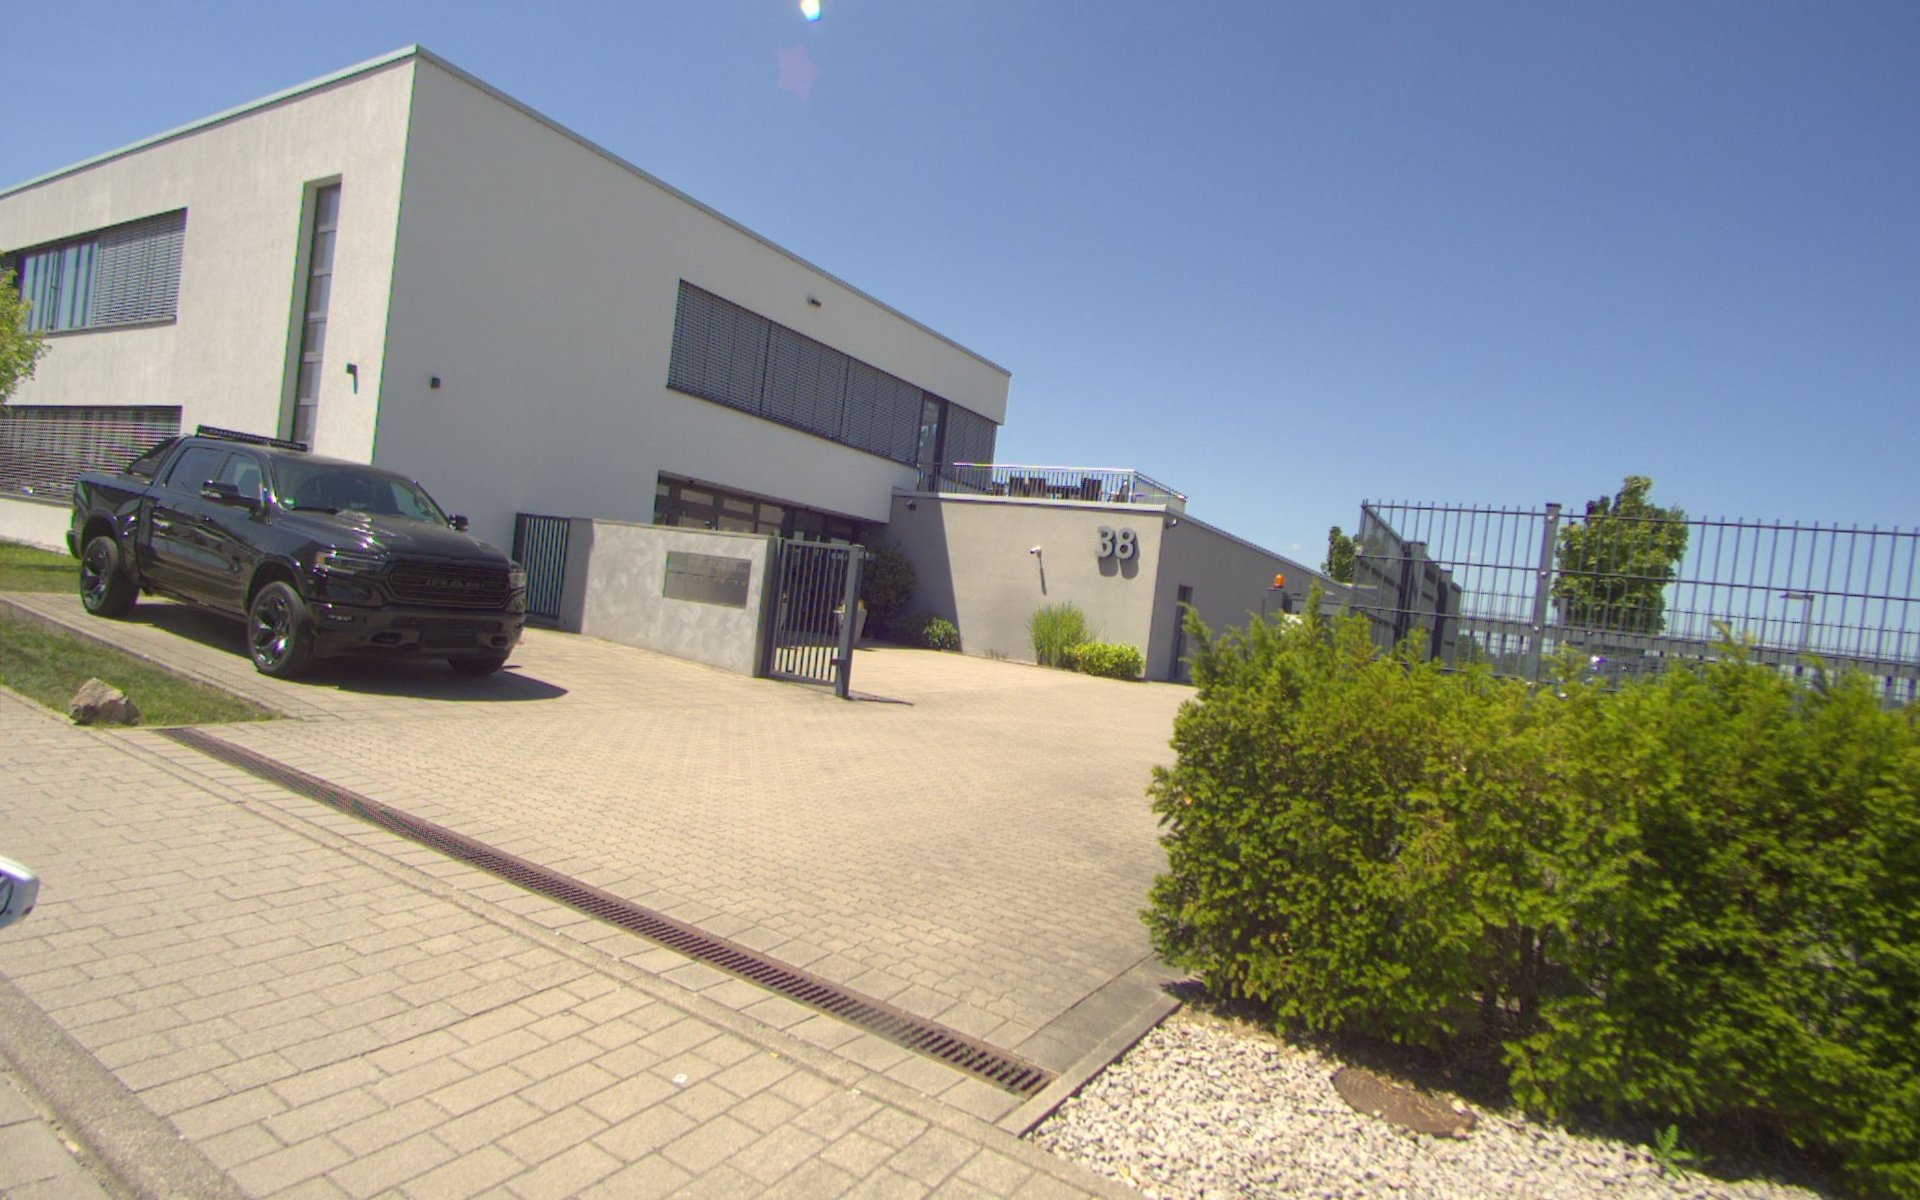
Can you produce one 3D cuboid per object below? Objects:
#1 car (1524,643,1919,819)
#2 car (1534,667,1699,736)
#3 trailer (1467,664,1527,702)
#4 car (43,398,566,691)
[{"bbox_3d":[10.029,1.645,13.685,3.934,1.699,1.857,5,0,32],"label":"car"},{"bbox_3d":[19.666,3.013,30.319,3.934,1.523,1.857,5,-1,32],"label":"car"},{"bbox_3d":[24.352,3.743,45.548,1.967,1.371,3.990,7,0,33],"label":"trailer"},{"bbox_3d":[-6.785,-0.663,10.160,5.701,2.039,1.996,10,2,31],"label":"car"}]
